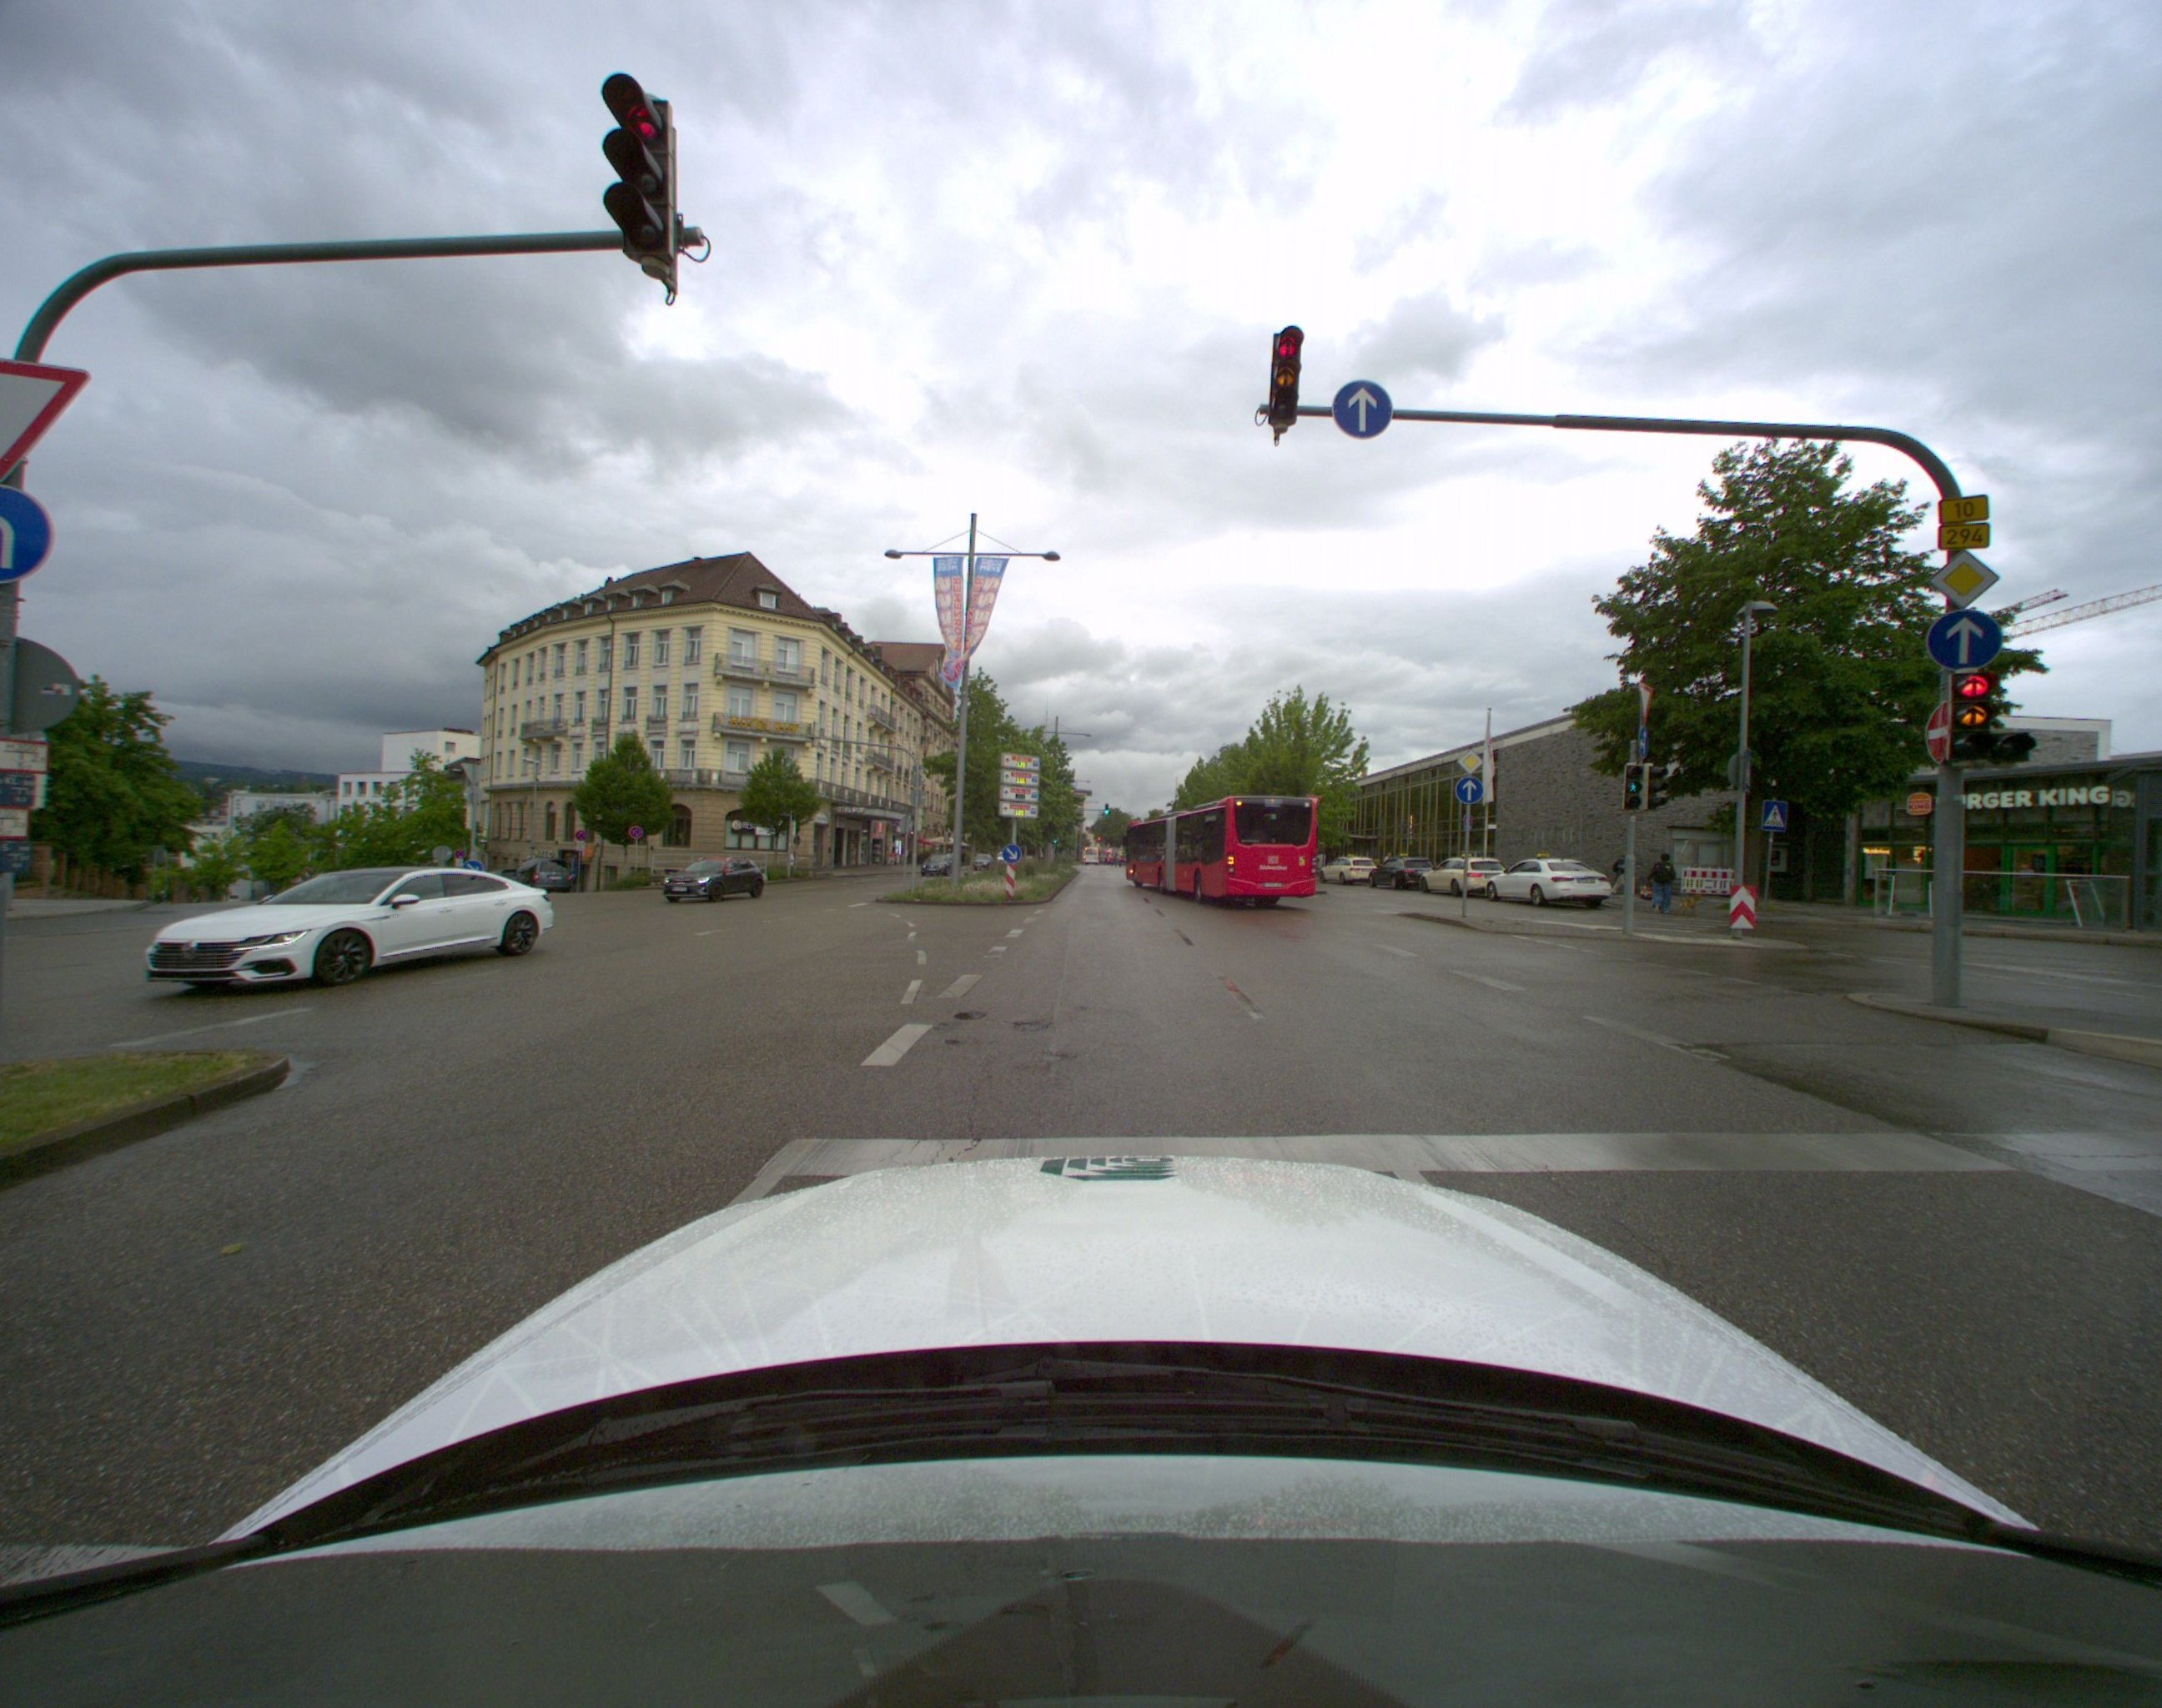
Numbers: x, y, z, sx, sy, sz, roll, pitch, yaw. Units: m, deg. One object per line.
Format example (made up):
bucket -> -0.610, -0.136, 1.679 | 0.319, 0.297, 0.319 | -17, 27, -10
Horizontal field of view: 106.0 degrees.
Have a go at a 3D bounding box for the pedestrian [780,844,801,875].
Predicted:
pedestrian -> -17.469, 0.333, 49.065 | 0.860, 1.878, 1.023 | 0, 0, 1

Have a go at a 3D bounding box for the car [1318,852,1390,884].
car -> 14.681, 0.718, 44.090 | 1.990, 1.600, 4.814 | 0, 0, -5

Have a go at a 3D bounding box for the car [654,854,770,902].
car -> -12.818, 0.774, 28.550 | 1.621, 1.476, 4.037 | 3, 0, 10

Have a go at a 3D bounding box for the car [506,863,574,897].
car -> -27.101, 1.273, 40.765 | 3.949, 1.568, 1.812 | 0, 0, 41

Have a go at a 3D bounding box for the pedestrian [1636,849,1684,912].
pedestrian -> 15.733, 0.701, 22.132 | 0.805, 1.674, 0.713 | 0, 0, 1

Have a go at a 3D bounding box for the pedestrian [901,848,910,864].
pedestrian -> -16.181, 0.173, 75.036 | 0.666, 1.510, 0.513 | 0, -1, -36

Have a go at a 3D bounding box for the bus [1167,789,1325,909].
bus -> 4.822, -0.119, 25.672 | 2.738, 3.174, 8.106 | 0, 0, -5

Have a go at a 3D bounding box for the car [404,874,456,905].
car -> -41.188, 2.211, 51.487 | 3.575, 1.812, 1.788 | 0, 0, 38

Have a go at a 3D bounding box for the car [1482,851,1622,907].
car -> 14.646, 0.725, 25.650 | 1.768, 1.589, 4.615 | 0, 0, 0

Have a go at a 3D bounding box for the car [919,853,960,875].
car -> -9.425, 0.663, 54.553 | 1.747, 1.441, 4.065 | 0, 0, 4

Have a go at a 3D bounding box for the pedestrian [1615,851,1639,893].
pedestrian -> 21.138, 0.688, 31.508 | 0.558, 1.633, 0.566 | 0, 0, 0

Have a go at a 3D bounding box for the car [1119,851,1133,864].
car -> 6.469, 0.484, 117.146 | 1.986, 1.806, 4.691 | 0, 0, 2

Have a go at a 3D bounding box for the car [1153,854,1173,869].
car -> 8.560, 0.763, 85.370 | 1.809, 1.530, 4.001 | 0, 0, 2

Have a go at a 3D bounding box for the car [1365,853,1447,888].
car -> 14.884, 0.715, 37.595 | 1.907, 1.524, 4.741 | 0, 0, 0

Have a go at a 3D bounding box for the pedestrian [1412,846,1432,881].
pedestrian -> 19.773, 0.570, 47.231 | 0.808, 2.014, 0.921 | 0, 0, 1

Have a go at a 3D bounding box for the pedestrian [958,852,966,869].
pedestrian -> -11.536, 0.631, 78.869 | 0.672, 1.701, 0.634 | 0, 0, 1

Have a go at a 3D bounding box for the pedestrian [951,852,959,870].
pedestrian -> -12.228, 0.647, 79.063 | 0.573, 1.732, 0.609 | 0, 0, 1

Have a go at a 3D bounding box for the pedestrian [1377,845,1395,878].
pedestrian -> 18.698, 0.474, 49.949 | 0.808, 2.014, 0.922 | 0, 0, 2

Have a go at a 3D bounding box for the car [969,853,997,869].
car -> -8.497, 0.589, 70.905 | 1.748, 1.369, 4.062 | 0, 0, 2

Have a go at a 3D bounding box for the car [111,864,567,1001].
car -> -9.693, 0.898, 11.380 | 1.717, 1.381, 4.863 | -2, 0, 3

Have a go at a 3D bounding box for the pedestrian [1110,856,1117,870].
pedestrian -> 3.974, 1.139, 99.117 | 0.754, 1.701, 0.561 | 0, 0, 8

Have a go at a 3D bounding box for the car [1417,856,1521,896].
car -> 14.785, 0.791, 31.369 | 1.840, 1.452, 4.666 | 0, 0, 0

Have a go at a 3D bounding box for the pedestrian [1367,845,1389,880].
pedestrian -> 17.278, 0.481, 47.374 | 0.814, 2.014, 0.914 | 1, 0, -22

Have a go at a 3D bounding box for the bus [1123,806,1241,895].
bus -> 3.926, -0.117, 34.489 | 2.739, 3.174, 10.173 | 0, 0, -6

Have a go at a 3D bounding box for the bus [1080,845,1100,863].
bus -> 1.714, 0.012, 156.073 | 3.747, 3.209, 15.526 | 0, 0, 1

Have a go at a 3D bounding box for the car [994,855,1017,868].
car -> -8.000, 0.812, 86.518 | 1.747, 1.369, 4.065 | 0, 0, 4
